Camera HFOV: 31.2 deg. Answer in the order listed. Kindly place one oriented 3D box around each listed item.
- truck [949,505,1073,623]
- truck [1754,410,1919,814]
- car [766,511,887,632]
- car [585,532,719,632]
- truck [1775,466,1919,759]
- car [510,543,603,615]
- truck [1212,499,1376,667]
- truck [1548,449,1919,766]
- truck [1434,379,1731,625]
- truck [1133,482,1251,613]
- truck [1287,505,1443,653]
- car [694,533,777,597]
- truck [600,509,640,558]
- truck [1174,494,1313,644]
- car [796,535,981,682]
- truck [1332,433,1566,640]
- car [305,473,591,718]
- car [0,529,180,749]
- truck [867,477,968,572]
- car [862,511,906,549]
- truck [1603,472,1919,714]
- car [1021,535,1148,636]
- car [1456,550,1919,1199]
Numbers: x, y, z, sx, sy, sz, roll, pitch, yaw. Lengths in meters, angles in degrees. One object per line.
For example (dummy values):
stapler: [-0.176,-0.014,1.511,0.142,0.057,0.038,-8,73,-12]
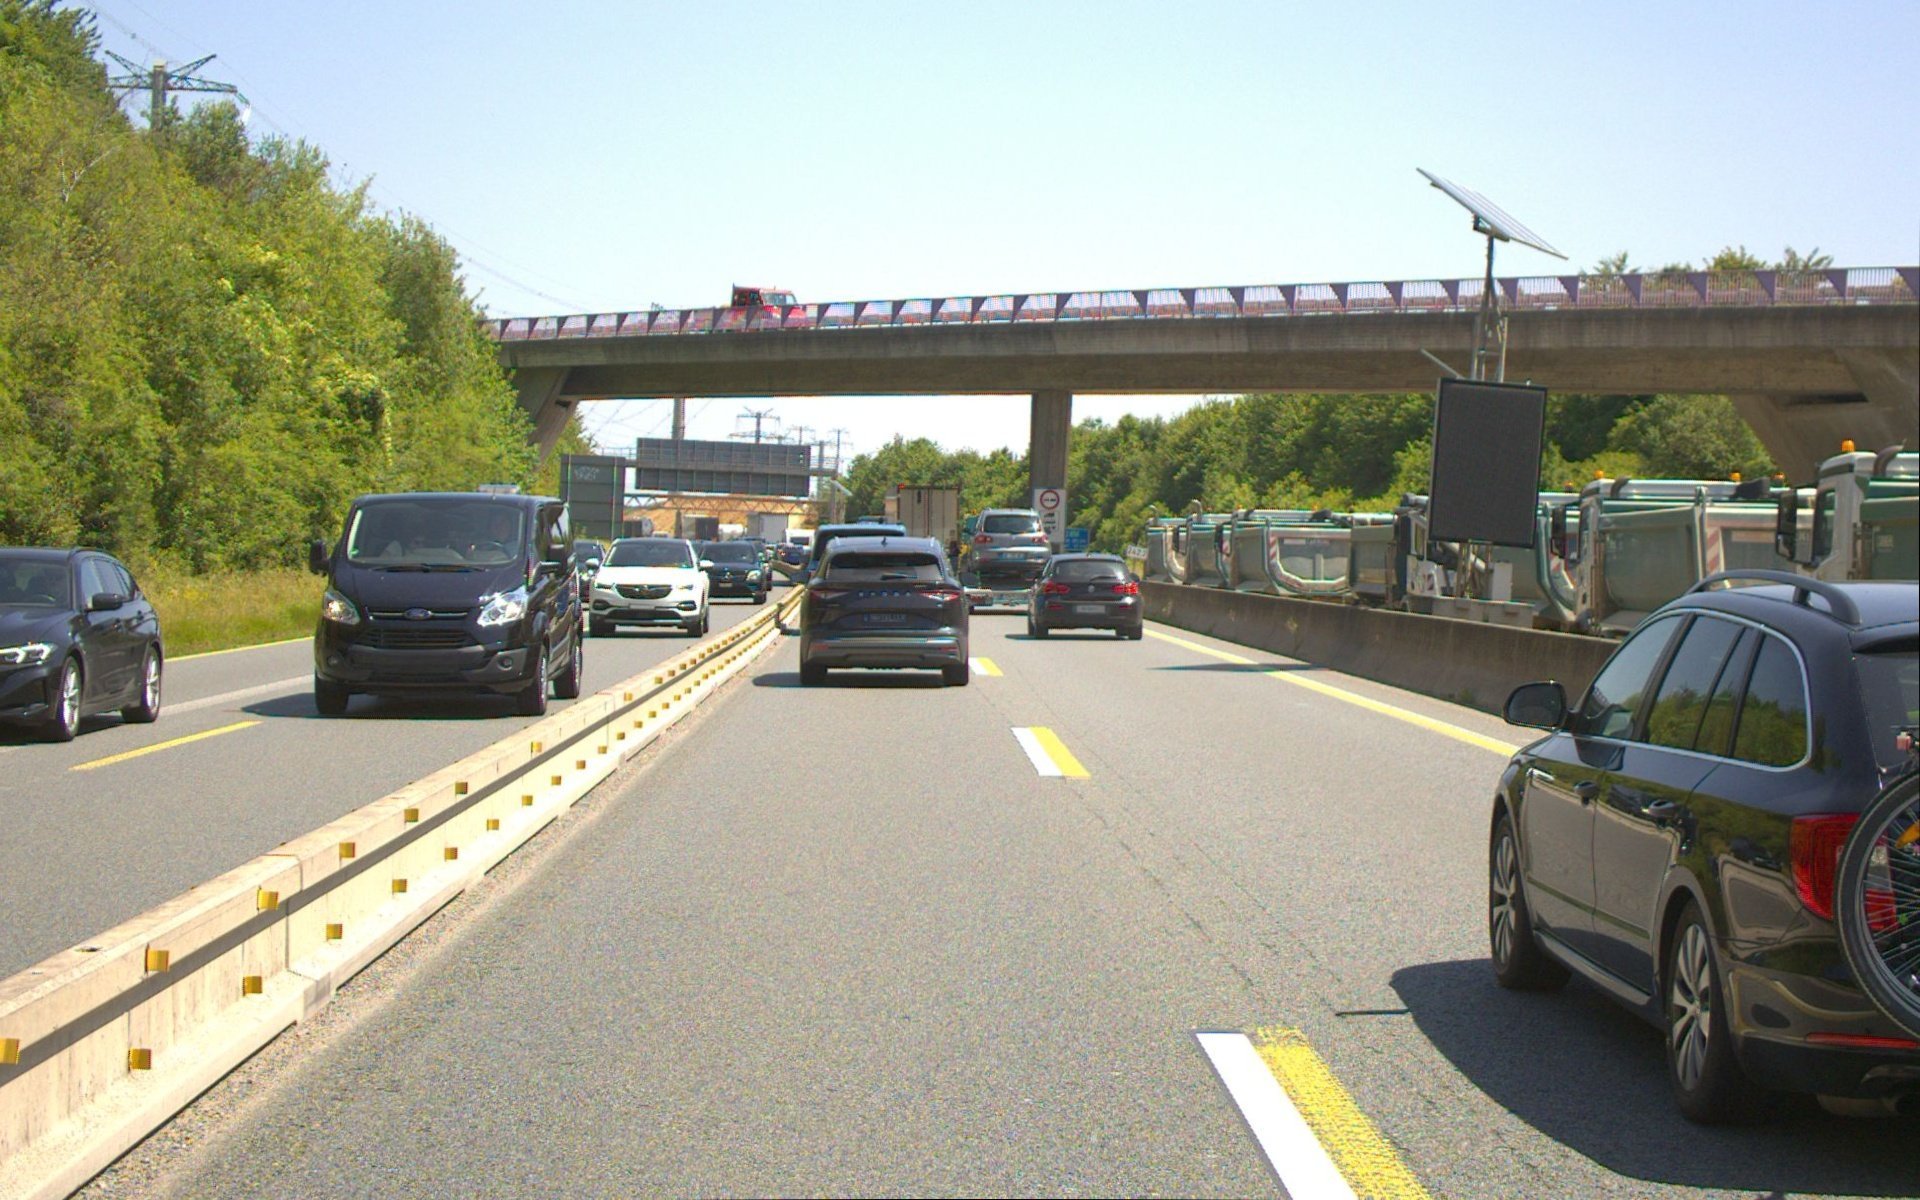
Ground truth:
truck: [1.110,-0.884,79.297,2.405,2.549,7.501,1,1,-2]
truck: [9.768,0.109,31.160,2.687,3.545,9.603,1,1,-1]
car: [-2.254,-0.505,58.984,1.899,1.962,4.276,1,1,0]
car: [-5.046,-0.329,56.883,1.843,1.528,4.671,1,1,-1]
truck: [12.375,0.132,41.524,2.687,3.366,9.603,1,1,0]
car: [-9.245,-0.508,79.041,1.699,1.560,3.995,2,1,-1]
truck: [7.912,-0.459,82.519,2.687,3.748,9.326,1,1,-2]
truck: [9.678,0.007,43.666,2.687,3.545,9.407,1,1,0]
truck: [9.754,-1.517,54.968,2.687,3.545,9.326,1,1,-2]
truck: [7.102,-1.630,106.466,2.687,3.830,9.326,1,1,-2]
truck: [10.750,-0.613,92.045,2.687,3.714,9.326,1,1,-2]
car: [-5.732,-0.914,88.242,1.843,1.528,4.671,2,1,-1]
truck: [-22.920,-4.466,231.493,2.508,3.175,10.112,1,1,-6]
truck: [7.643,-0.878,93.929,2.687,3.842,9.326,1,1,-2]
car: [-0.760,0.060,38.116,1.899,1.500,4.276,1,1,0]
truck: [9.046,-1.189,64.659,2.687,3.545,9.326,1,1,-2]
car: [-4.553,-0.081,31.250,1.890,2.007,4.818,1,1,-1]
car: [-7.390,0.224,26.381,1.793,1.520,4.531,1,1,-1]
truck: [-1.861,-3.188,146.005,3.292,3.832,10.112,1,1,-6]
car: [-3.994,-3.685,180.988,1.899,1.962,4.277,1,1,-6]
truck: [12.419,-0.174,53.285,2.687,3.366,9.604,1,1,-2]
car: [2.046,-0.261,57.553,1.899,1.580,4.276,1,1,0]
car: [2.729,0.635,9.649,1.899,1.485,4.948,1,1,0]
